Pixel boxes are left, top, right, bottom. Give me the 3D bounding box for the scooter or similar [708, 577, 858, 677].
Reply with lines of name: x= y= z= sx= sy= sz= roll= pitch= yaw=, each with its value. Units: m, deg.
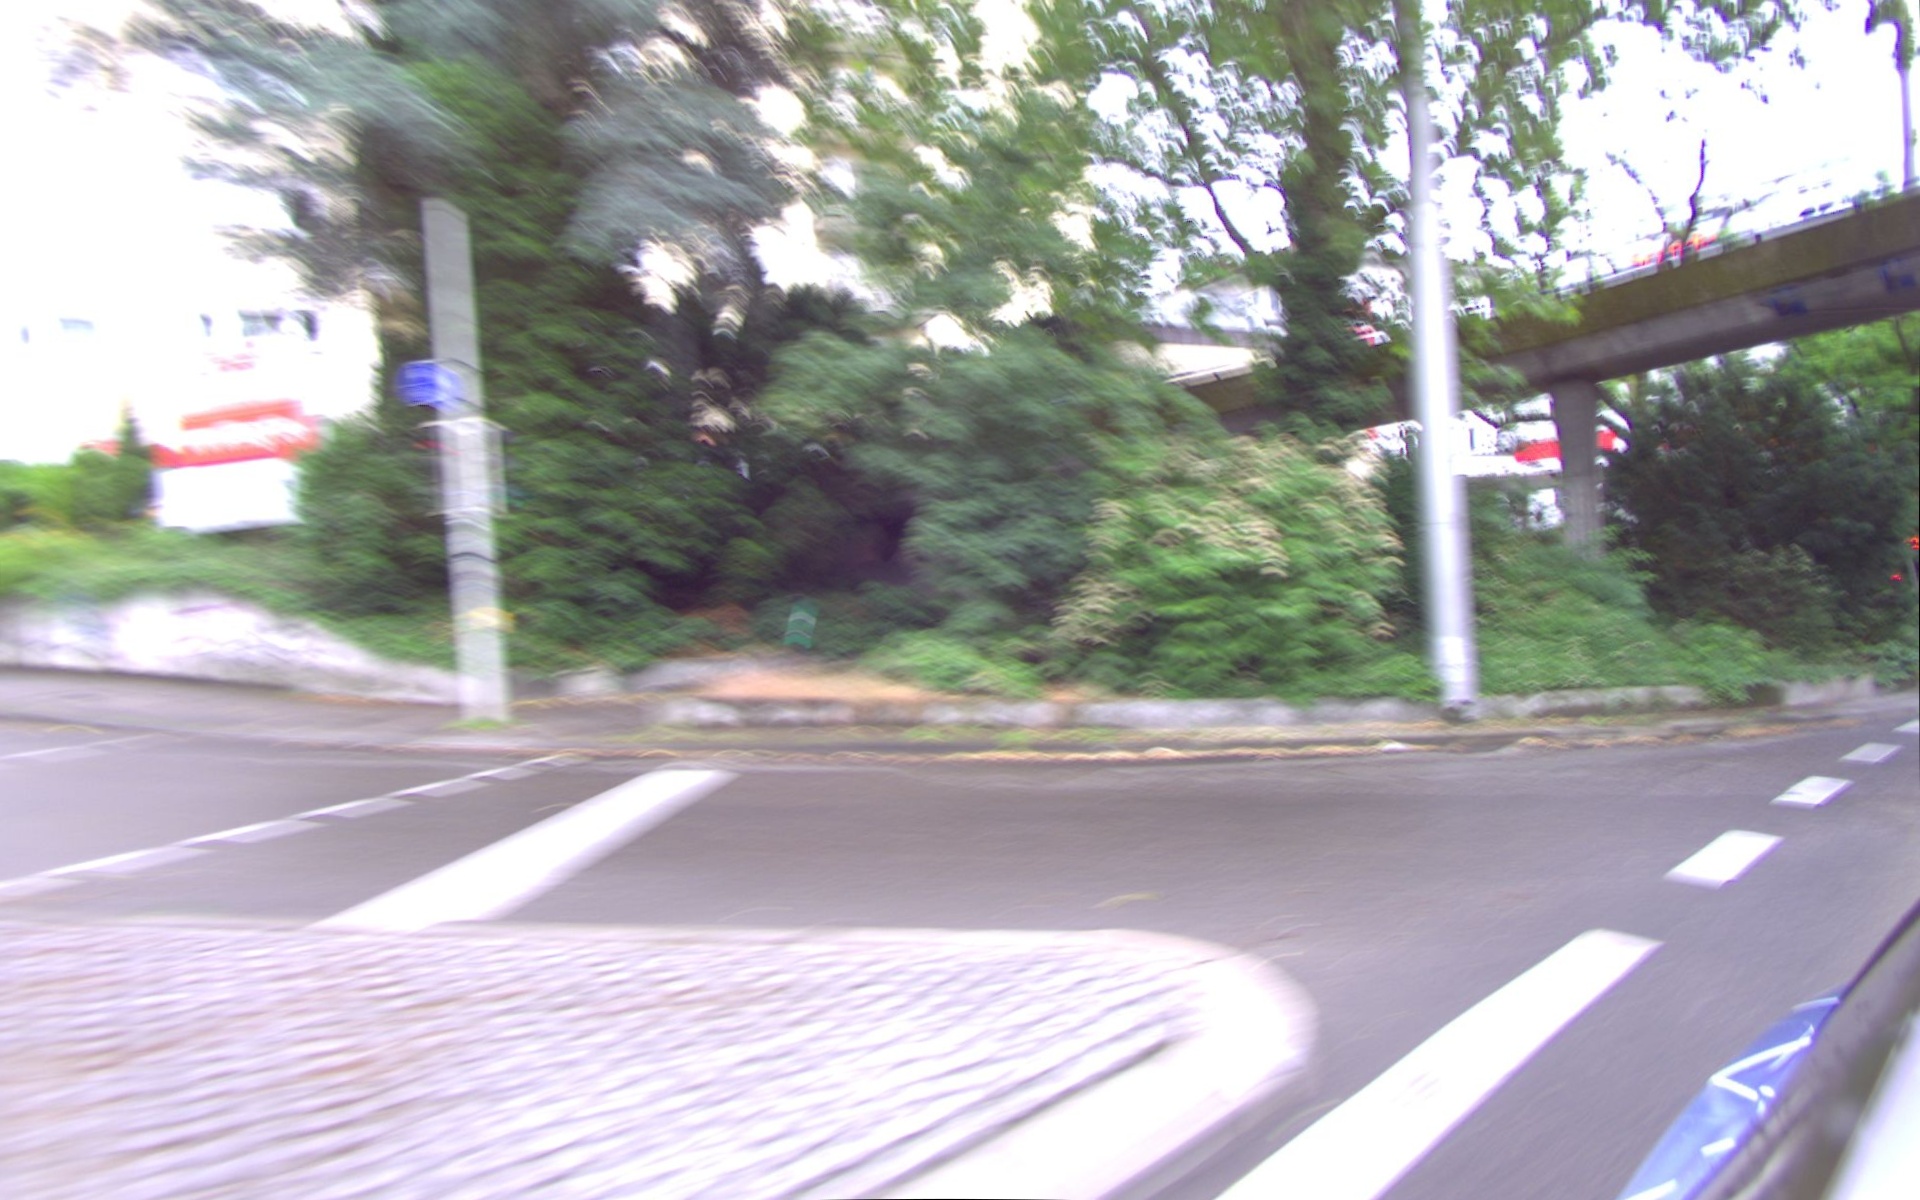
scooter or similar: x=-2.308 y=0.321 z=13.327 sx=1.883 sy=1.233 sz=0.602 roll=-1 pitch=1 yaw=-35
